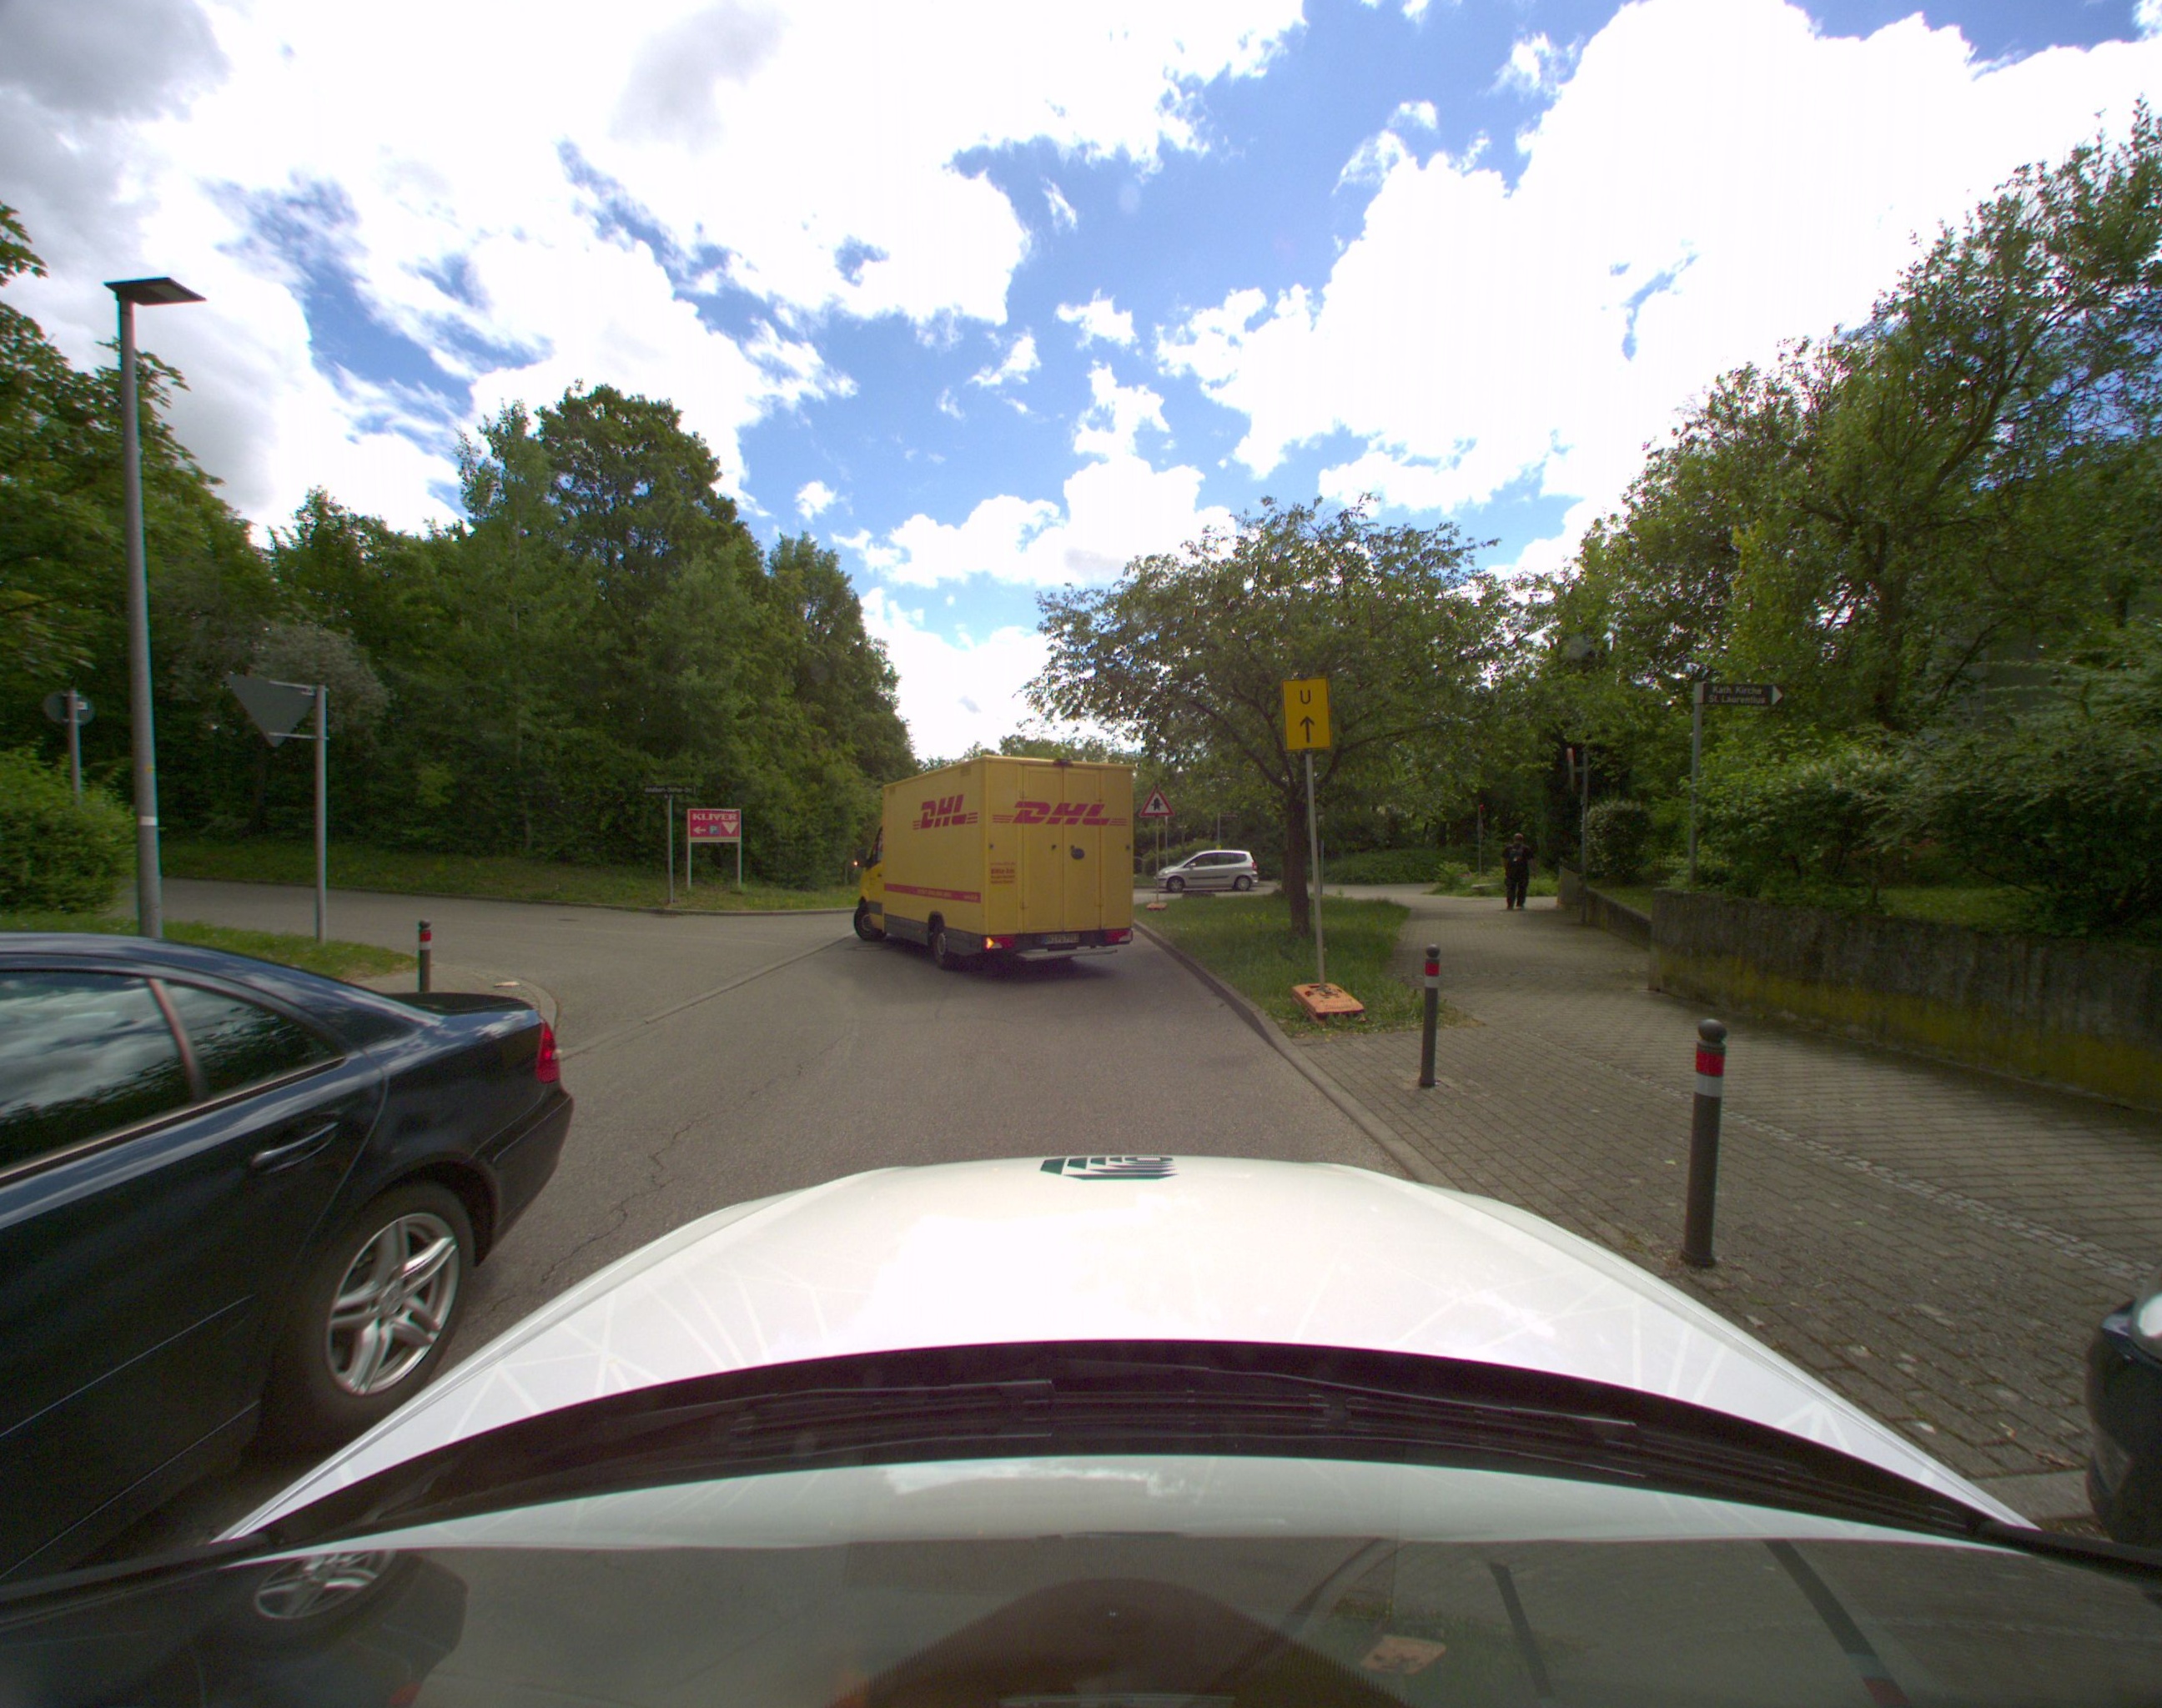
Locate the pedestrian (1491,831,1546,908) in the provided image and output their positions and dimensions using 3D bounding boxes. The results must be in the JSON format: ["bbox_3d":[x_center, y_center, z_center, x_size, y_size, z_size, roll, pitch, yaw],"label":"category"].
[{"bbox_3d":[10.173,0.348,18.957,0.830,1.737,0.785,-1,-1,-4],"label":"pedestrian"}]

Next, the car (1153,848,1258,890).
[{"bbox_3d":[4.551,0.530,30.150,3.628,1.456,1.847,-1,0,1],"label":"car"}]

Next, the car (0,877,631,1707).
[{"bbox_3d":[-2.717,0.831,1.116,1.746,1.419,4.367,-1,0,0],"label":"car"}]

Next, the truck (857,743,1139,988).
[{"bbox_3d":[-1.721,0.123,12.793,2.237,2.808,6.515,-1,0,-26],"label":"truck"}]

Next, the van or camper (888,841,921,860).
[{"bbox_3d":[-20.594,-0.424,94.704,2.007,1.919,5.213,-3,3,-32],"label":"van or camper"}]
